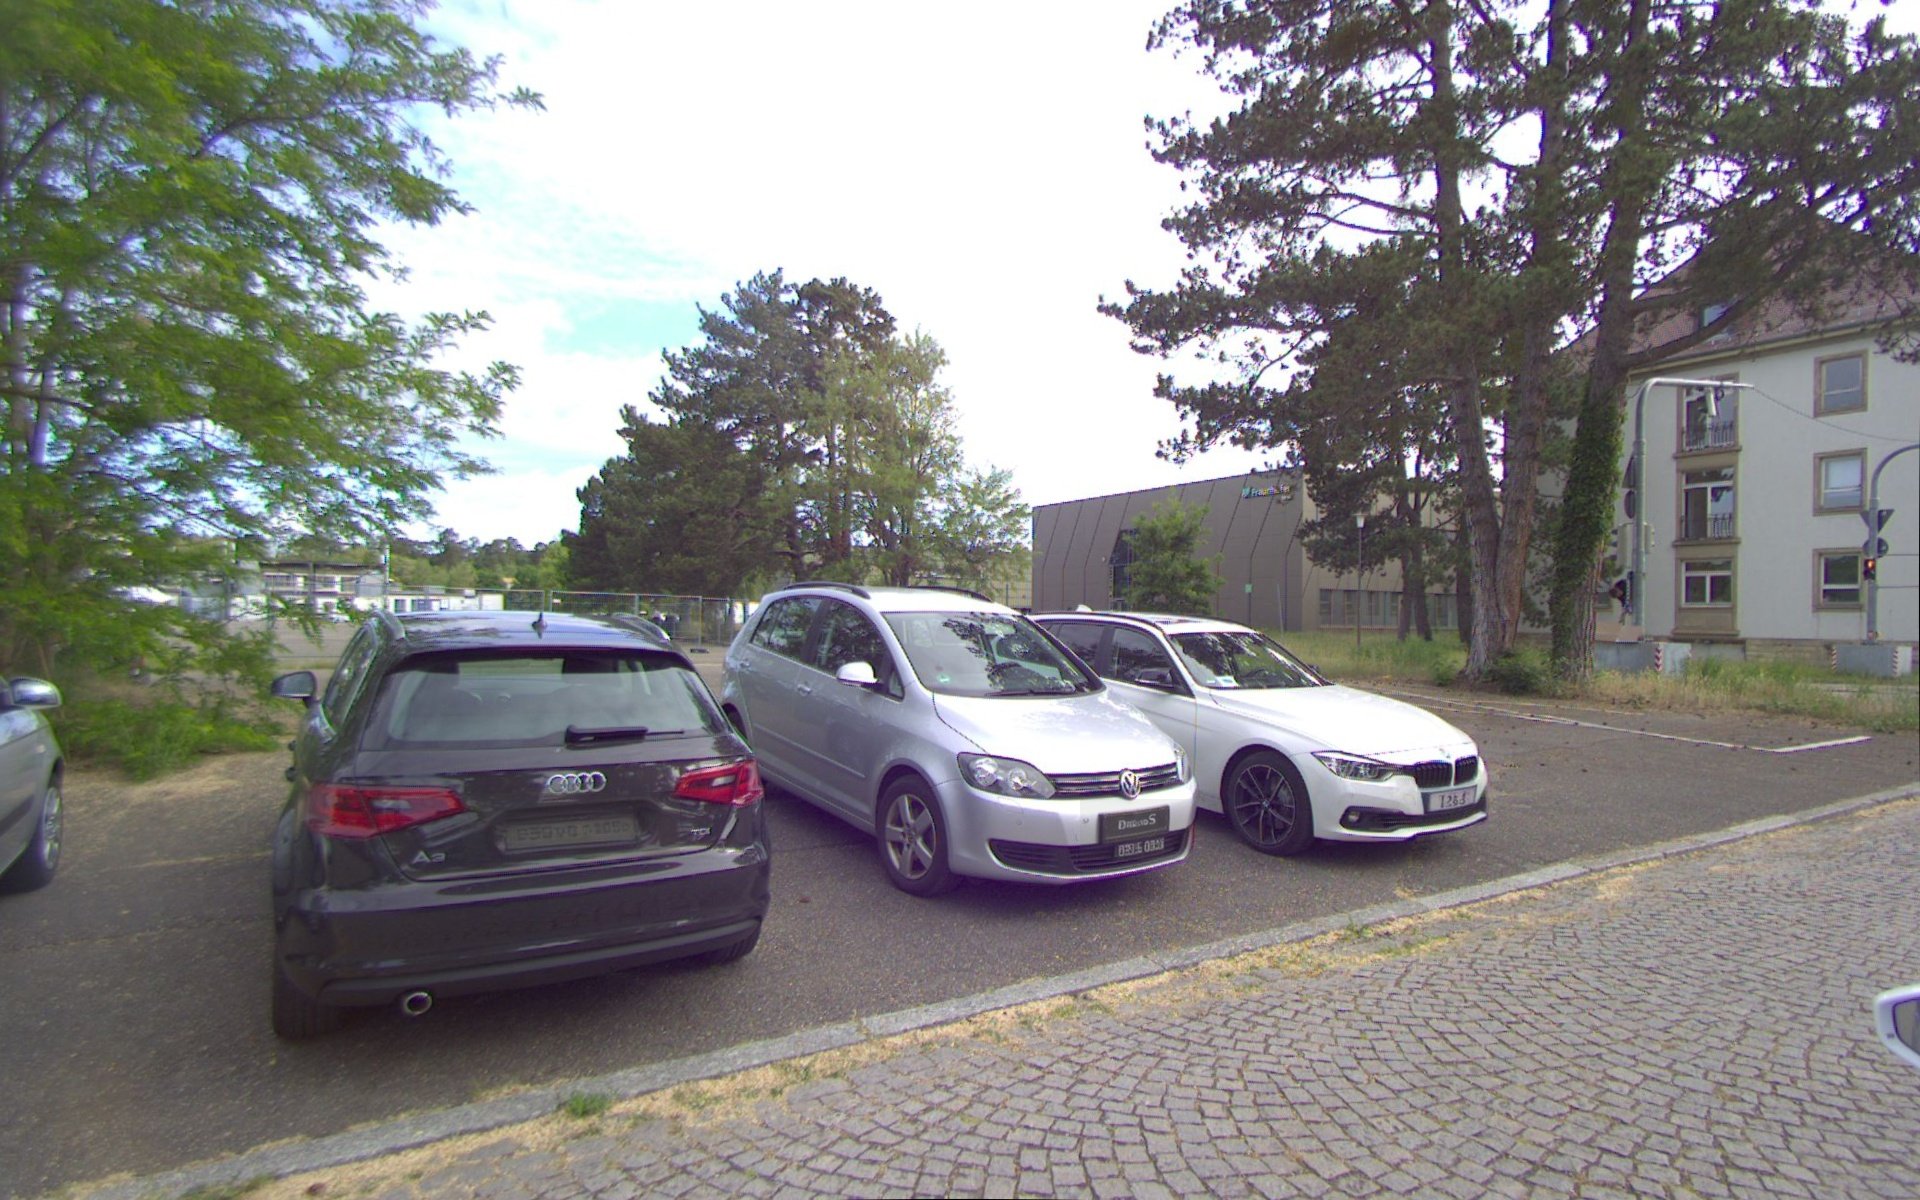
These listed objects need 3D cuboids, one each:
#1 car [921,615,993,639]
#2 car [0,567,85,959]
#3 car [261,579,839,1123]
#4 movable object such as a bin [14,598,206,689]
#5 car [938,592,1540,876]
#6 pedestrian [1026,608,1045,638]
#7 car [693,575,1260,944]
[{"bbox_3d":[-0.205,1.807,67.311,4.405,1.449,1.985,-1,0,-29],"label":"car"},{"bbox_3d":[-4.486,0.627,3.453,1.790,1.472,3.654,1,2,-35],"label":"car"},{"bbox_3d":[-2.222,0.689,4.967,1.731,1.447,3.966,1,2,-31],"label":"car"},{"bbox_3d":[-11.992,0.586,14.328,1.480,1.176,2.384,1,-1,-25],"label":"movable object such as a bin"},{"bbox_3d":[1.820,0.761,8.106,1.783,1.463,4.618,1,2,-34],"label":"car"},{"bbox_3d":[5.148,1.552,68.576,0.891,2.040,0.913,1,-1,-32],"label":"pedestrian"},{"bbox_3d":[-0.219,0.686,6.580,1.707,1.568,3.961,1,2,-34],"label":"car"}]
